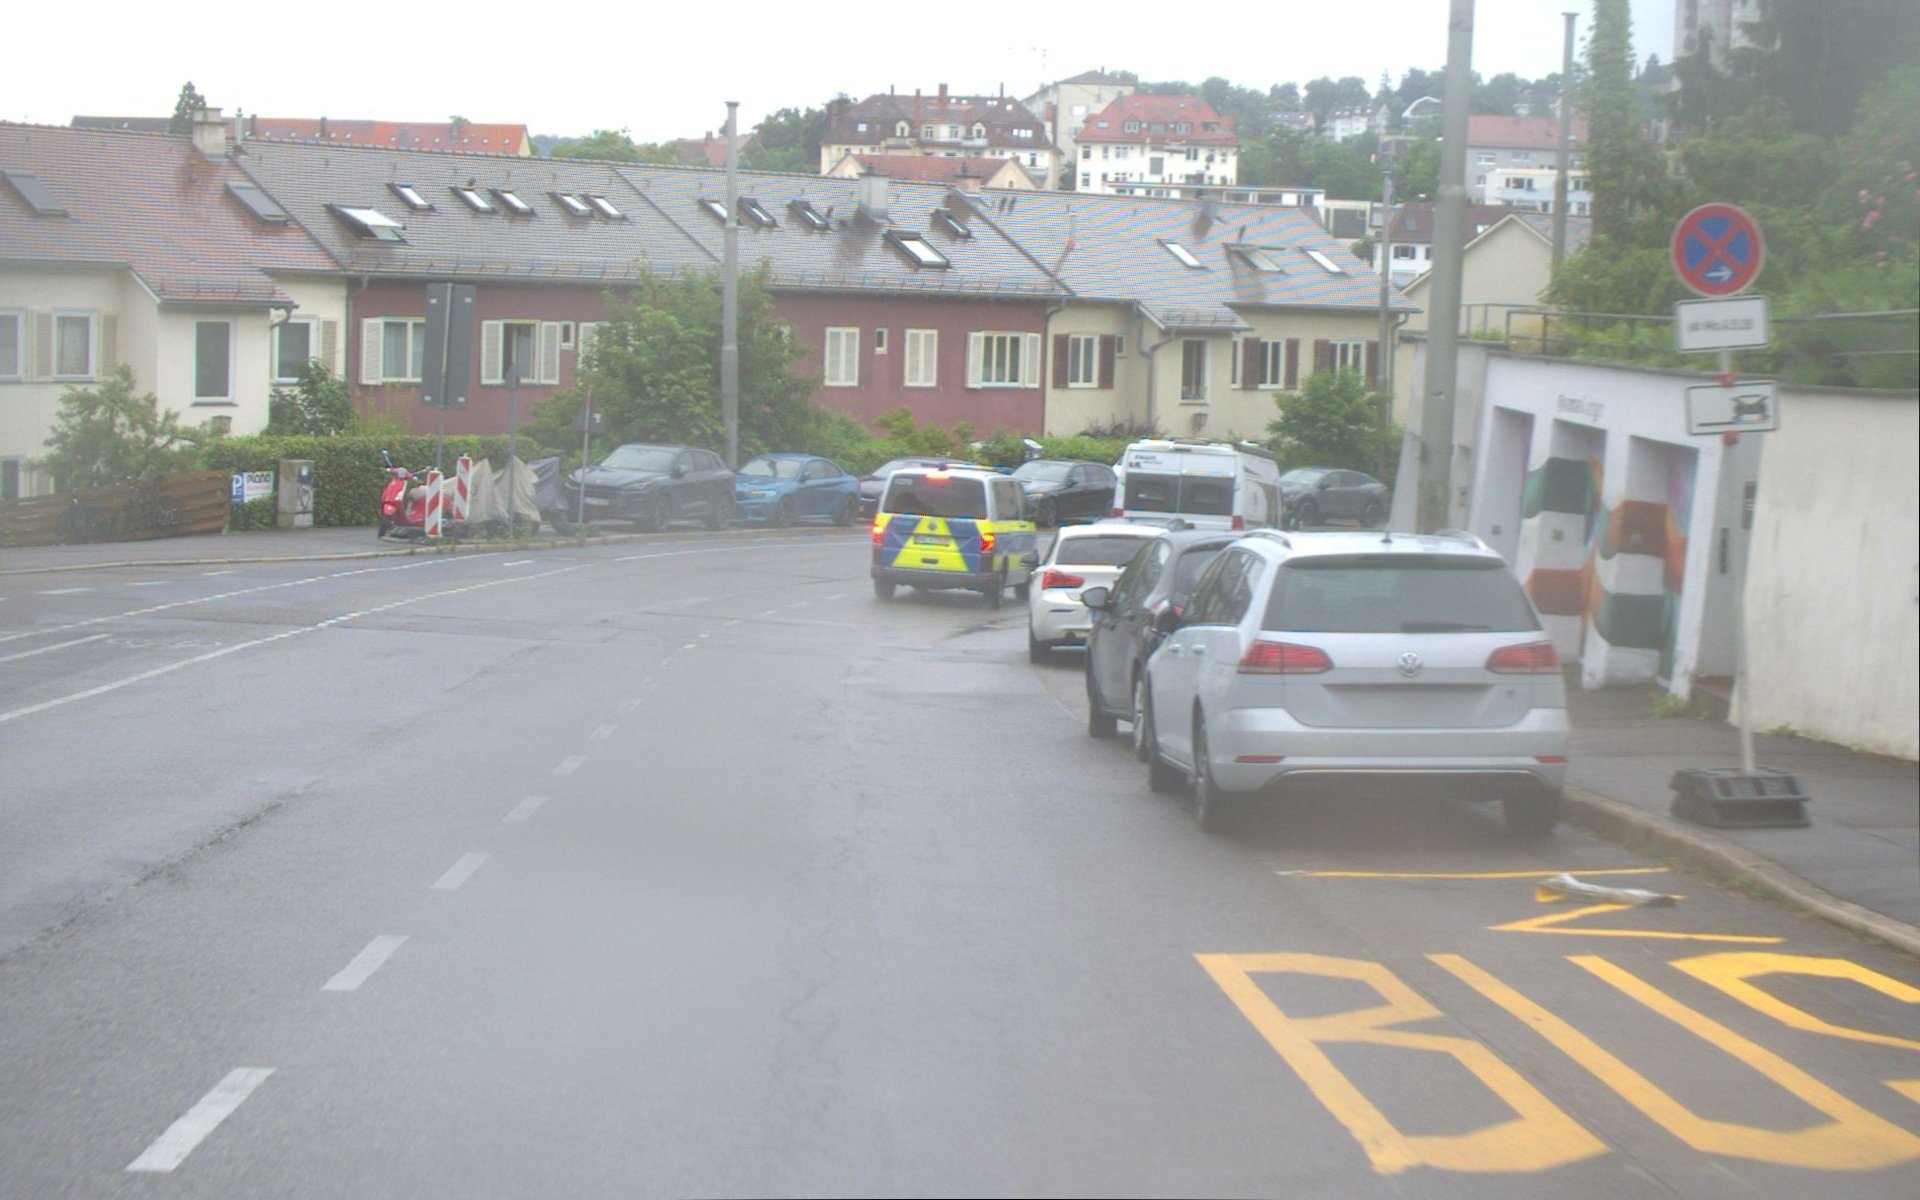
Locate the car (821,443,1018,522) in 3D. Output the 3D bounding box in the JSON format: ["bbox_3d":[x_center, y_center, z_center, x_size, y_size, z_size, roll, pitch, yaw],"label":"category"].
[{"bbox_3d":[-0.835,-2.508,73.721,1.812,1.471,4.513,7,5,35],"label":"car"}]

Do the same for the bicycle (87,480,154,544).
[{"bbox_3d":[-13.954,-1.455,57.155,1.302,1.031,0.304,-1,-2,37],"label":"bicycle"}]

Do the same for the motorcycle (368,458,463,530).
[{"bbox_3d":[-8.918,-1.745,56.347,0.510,1.136,1.919,2,3,27],"label":"motorcycle"}]

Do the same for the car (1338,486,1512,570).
[{"bbox_3d":[9.245,-1.418,68.069,1.682,1.478,4.193,7,4,33],"label":"car"}]

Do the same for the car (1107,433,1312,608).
[{"bbox_3d":[3.998,-1.263,54.099,2.100,2.533,5.616,2,2,15],"label":"car"}]

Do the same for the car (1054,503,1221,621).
[{"bbox_3d":[2.555,-0.579,48.683,1.754,1.490,4.182,2,3,11],"label":"car"}]

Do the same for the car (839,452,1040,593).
[{"bbox_3d":[-0.247,-1.162,50.953,2.309,1.933,4.324,2,2,8],"label":"car"}]

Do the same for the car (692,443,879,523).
[{"bbox_3d":[-3.463,-2.366,68.963,1.702,1.399,4.467,7,5,26],"label":"car"}]

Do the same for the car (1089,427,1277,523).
[{"bbox_3d":[5.427,-3.009,83.260,1.853,2.071,5.009,7,5,38],"label":"car"}]

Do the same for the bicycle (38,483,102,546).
[{"bbox_3d":[-15.034,-1.443,58.064,1.327,1.031,0.304,-1,-2,39],"label":"bicycle"}]

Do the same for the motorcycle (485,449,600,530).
[{"bbox_3d":[-7.324,-1.934,60.298,1.900,1.266,0.576,4,4,-11],"label":"motorcycle"}]

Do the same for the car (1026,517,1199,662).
[{"bbox_3d":[1.577,-0.156,36.687,1.705,1.409,4.042,2,1,1],"label":"car"}]

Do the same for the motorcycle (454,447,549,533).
[{"bbox_3d":[-7.853,-1.884,58.856,0.611,1.298,1.807,1,6,-42],"label":"motorcycle"}]

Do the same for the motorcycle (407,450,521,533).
[{"bbox_3d":[-8.362,-1.834,57.933,1.803,1.274,0.510,5,4,20],"label":"motorcycle"}]

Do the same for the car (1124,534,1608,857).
[{"bbox_3d":[1.933,0.390,17.661,1.781,1.415,4.431,1,1,-2],"label":"car"}]

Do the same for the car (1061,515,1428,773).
[{"bbox_3d":[1.774,0.219,22.703,1.713,1.508,4.001,1,2,-5],"label":"car"}]

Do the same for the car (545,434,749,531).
[{"bbox_3d":[-5.795,-2.213,64.124,1.924,1.571,4.383,6,5,21],"label":"car"}]

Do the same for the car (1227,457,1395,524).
[{"bbox_3d":[8.984,-2.787,87.792,1.813,1.471,4.511,8,5,42],"label":"car"}]

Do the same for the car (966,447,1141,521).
[{"bbox_3d":[2.163,-2.630,78.443,1.812,1.471,4.514,7,5,32],"label":"car"}]
